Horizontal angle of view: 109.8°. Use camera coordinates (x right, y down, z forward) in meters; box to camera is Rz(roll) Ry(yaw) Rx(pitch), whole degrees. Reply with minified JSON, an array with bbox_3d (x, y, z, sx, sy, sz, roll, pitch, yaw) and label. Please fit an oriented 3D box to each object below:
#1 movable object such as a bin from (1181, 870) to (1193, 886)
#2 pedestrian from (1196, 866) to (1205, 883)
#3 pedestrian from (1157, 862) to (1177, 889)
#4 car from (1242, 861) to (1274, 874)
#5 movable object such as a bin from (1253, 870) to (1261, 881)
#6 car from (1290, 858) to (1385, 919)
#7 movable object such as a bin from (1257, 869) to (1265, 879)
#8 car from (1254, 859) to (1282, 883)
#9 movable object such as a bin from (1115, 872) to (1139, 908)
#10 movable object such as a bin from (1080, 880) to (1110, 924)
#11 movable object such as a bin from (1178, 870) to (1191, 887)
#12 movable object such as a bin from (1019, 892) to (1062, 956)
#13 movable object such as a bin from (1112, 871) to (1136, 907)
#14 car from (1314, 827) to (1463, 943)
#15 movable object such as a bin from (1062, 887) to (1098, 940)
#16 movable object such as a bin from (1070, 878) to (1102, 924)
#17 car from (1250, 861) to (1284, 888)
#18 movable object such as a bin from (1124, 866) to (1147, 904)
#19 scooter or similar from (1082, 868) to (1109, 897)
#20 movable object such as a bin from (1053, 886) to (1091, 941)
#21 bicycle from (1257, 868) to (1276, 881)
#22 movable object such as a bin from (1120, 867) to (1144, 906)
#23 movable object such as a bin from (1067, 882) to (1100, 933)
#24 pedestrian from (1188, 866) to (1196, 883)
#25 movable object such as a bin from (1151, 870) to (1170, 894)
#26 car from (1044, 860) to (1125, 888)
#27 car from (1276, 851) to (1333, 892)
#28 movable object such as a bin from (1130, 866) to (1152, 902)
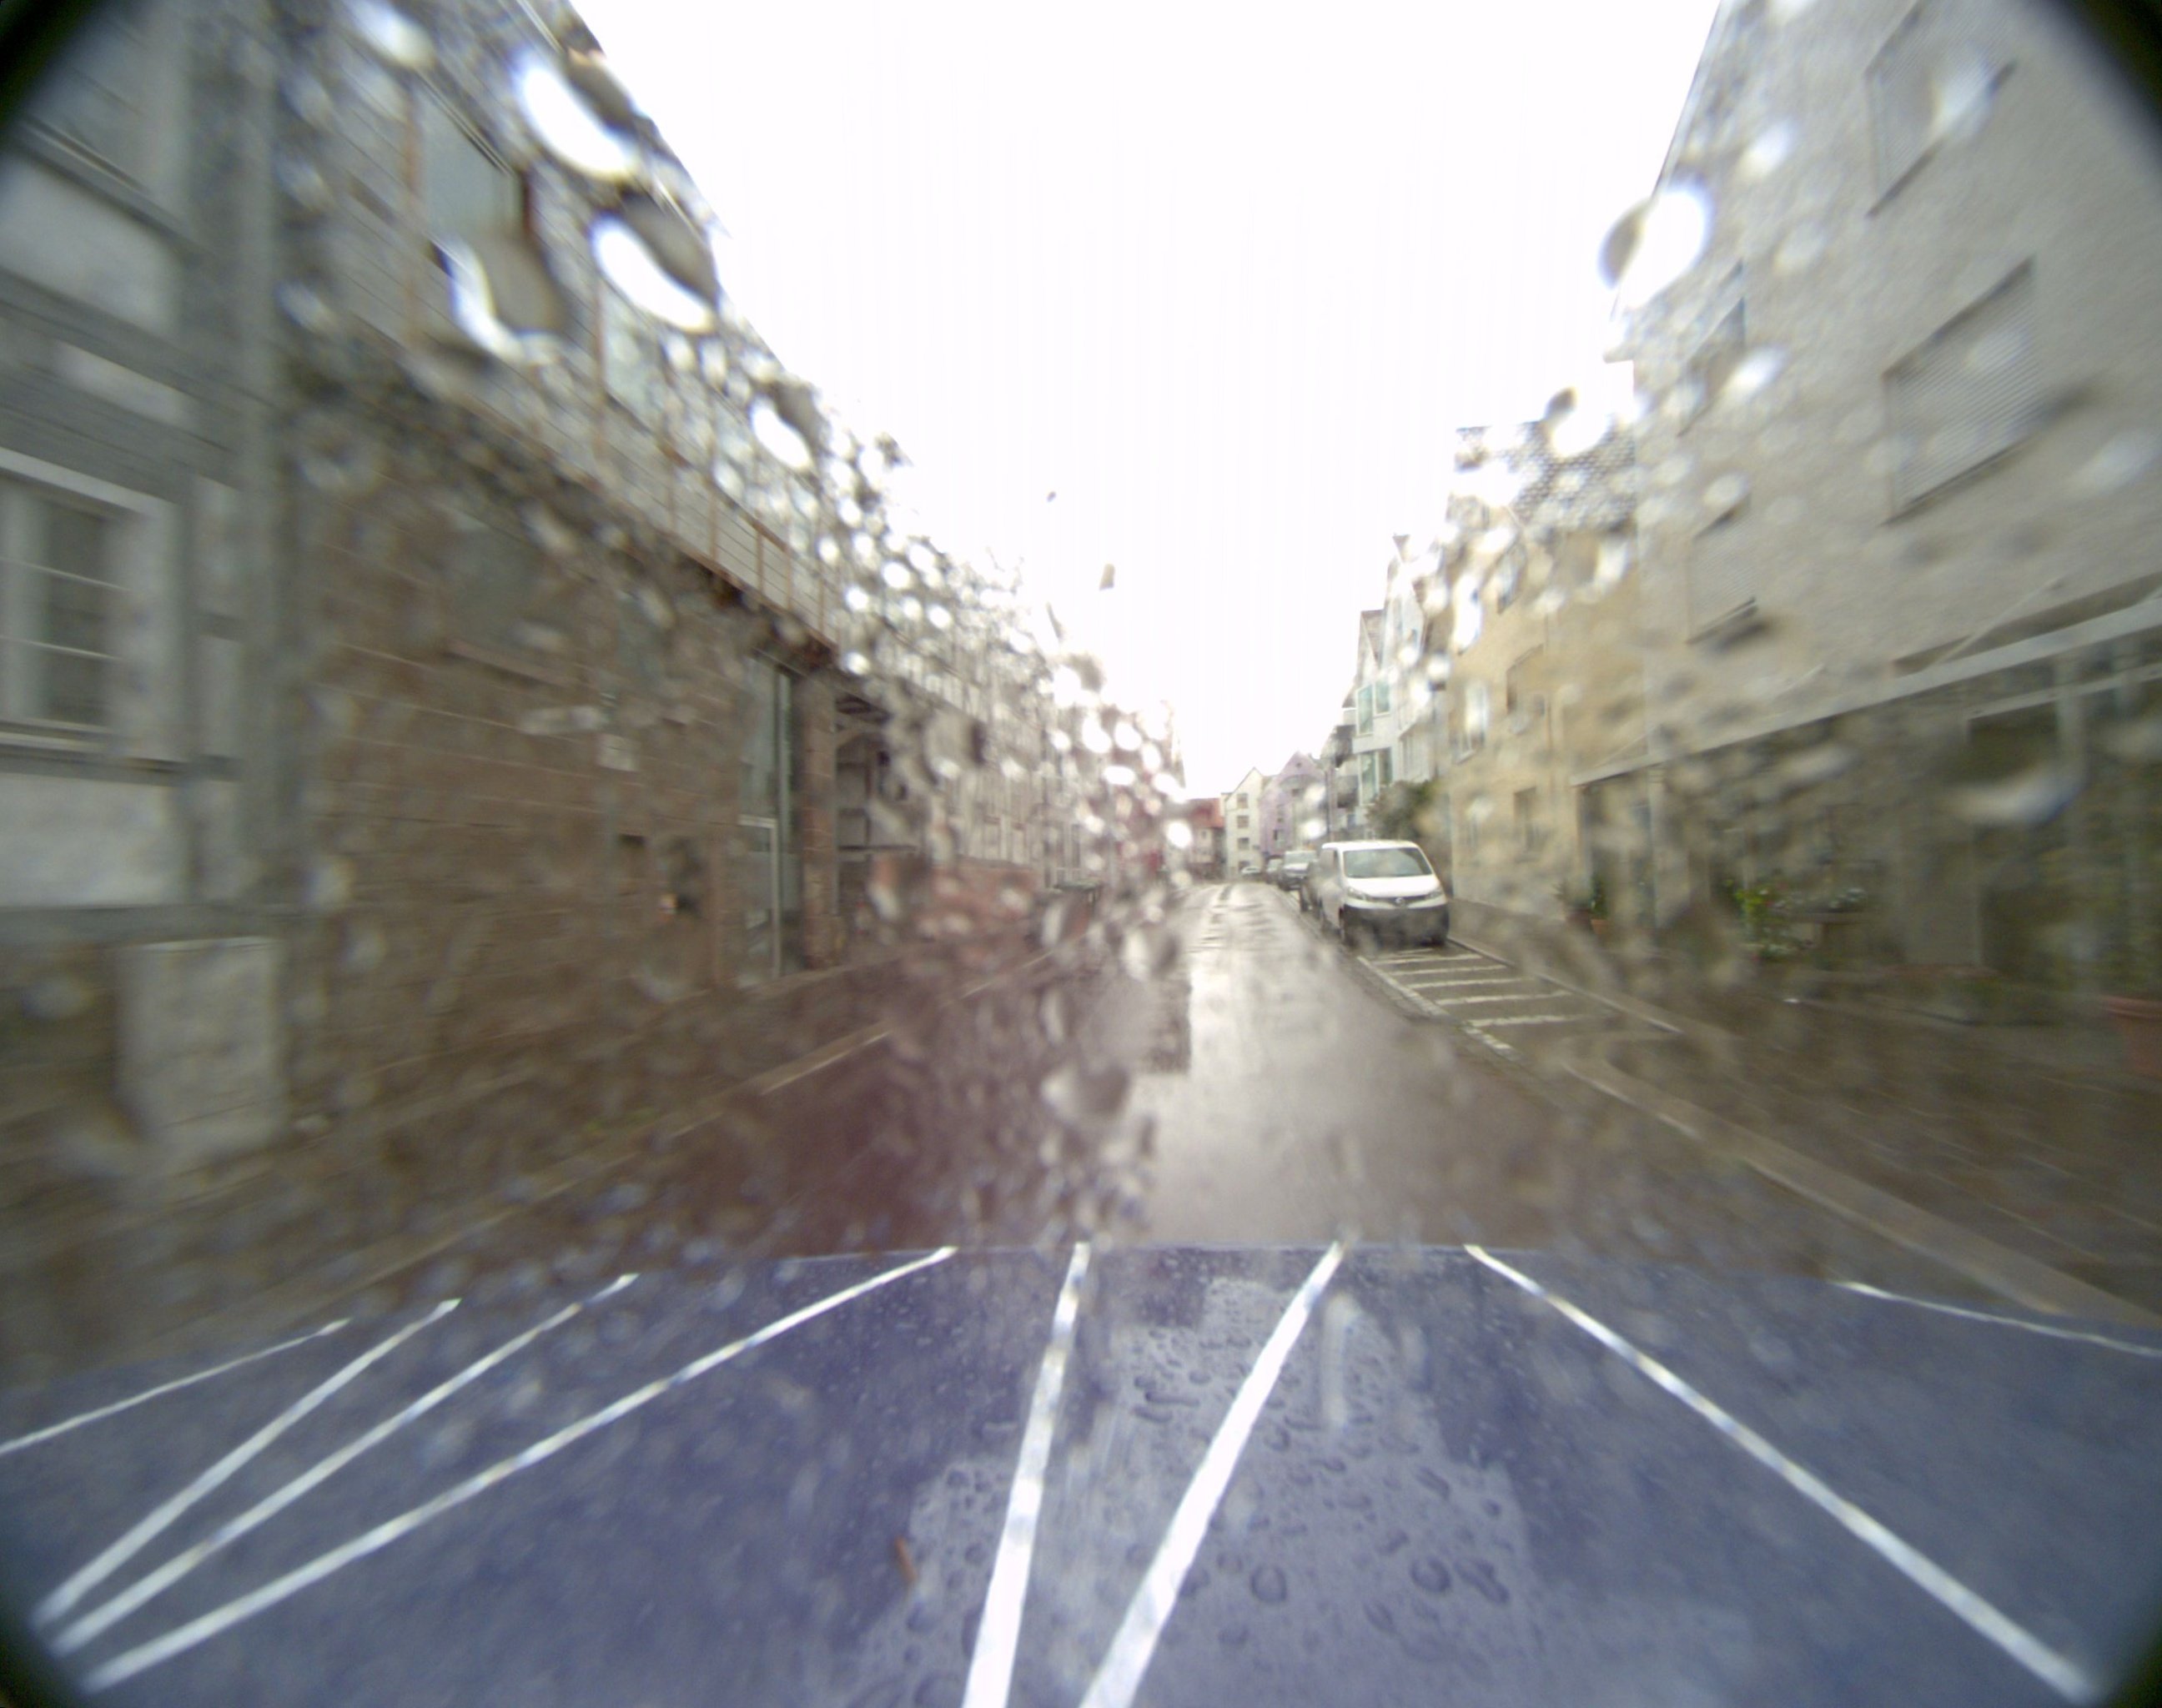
[{"bbox_3d":[7.155,1.618,51.324,0.677,1.077,0.698,-2,0,13],"label":"movable object such as a bin"},{"bbox_3d":[13.562,2.325,86.261,0.774,1.893,0.804,-2,1,-15],"label":"pedestrian"},{"bbox_3d":[5.462,1.357,47.997,1.179,1.687,1.178,-1,-1,9],"label":"pedestrian"},{"bbox_3d":[23.852,1.799,102.341,3.990,1.574,1.835,-2,0,18],"label":"car"},{"bbox_3d":[18.407,2.274,79.481,0.688,1.070,0.669,-2,-1,3],"label":"movable object such as a bin"},{"bbox_3d":[6.725,0.846,20.269,1.684,1.381,3.827,-2,0,8],"label":"car"},{"bbox_3d":[19.223,2.116,81.225,0.688,1.067,0.669,-2,-1,3],"label":"movable object such as a bin"},{"bbox_3d":[13.814,1.255,56.337,1.794,1.542,4.003,-3,0,11],"label":"car"},{"bbox_3d":[1.531,1.196,25.288,0.617,1.125,0.633,-2,1,16],"label":"movable object such as a bin"},{"bbox_3d":[0.372,1.237,19.850,0.679,1.090,0.651,-3,0,8],"label":"movable object such as a bin"},{"bbox_3d":[6.807,1.623,49.885,0.730,1.075,0.647,-2,0,13],"label":"movable object such as a bin"},{"bbox_3d":[-0.742,1.297,14.121,0.610,1.121,0.600,-2,1,11],"label":"movable object such as a bin"},{"bbox_3d":[1.390,1.123,24.631,0.617,1.125,0.633,-2,1,15],"label":"movable object such as a bin"},{"bbox_3d":[5.601,0.490,14.402,1.726,1.814,4.432,-2,0,11],"label":"car"},{"bbox_3d":[-0.016,1.342,17.310,0.639,1.140,0.604,-2,1,16],"label":"movable object such as a bin"},{"bbox_3d":[0.120,1.158,18.704,0.670,1.075,0.588,-1,1,10],"label":"movable object such as a bin"},{"bbox_3d":[10.877,1.191,44.660,1.833,1.489,4.769,-1,-1,13],"label":"car"},{"bbox_3d":[1.930,1.087,26.806,0.639,1.283,0.633,-2,1,16],"label":"movable object such as a bin"},{"bbox_3d":[0.616,1.200,32.035,0.666,1.139,1.448,-2,0,18],"label":"scooter or similar"},{"bbox_3d":[-0.191,1.294,16.590,0.639,1.140,0.580,-2,1,16],"label":"movable object such as a bin"},{"bbox_3d":[17.832,1.959,72.973,1.751,1.157,0.444,-2,1,-8],"label":"bicycle"},{"bbox_3d":[1.751,1.106,25.997,0.639,1.283,0.633,-2,1,16],"label":"movable object such as a bin"},{"bbox_3d":[0.057,1.267,18.049,0.639,1.140,0.632,-2,1,9],"label":"movable object such as a bin"},{"bbox_3d":[12.668,2.344,86.460,0.656,1.891,0.658,0,0,-15],"label":"pedestrian"},{"bbox_3d":[3.831,1.351,36.765,0.805,1.124,0.863,-2,1,10],"label":"movable object such as a bin"},{"bbox_3d":[0.189,1.077,41.285,3.990,1.505,1.915,-1,-1,22],"label":"car"},{"bbox_3d":[9.493,0.698,32.551,1.783,1.559,4.411,-2,0,10],"label":"car"},{"bbox_3d":[2.189,1.082,27.809,0.639,1.283,0.633,-2,1,16],"label":"movable object such as a bin"}]
